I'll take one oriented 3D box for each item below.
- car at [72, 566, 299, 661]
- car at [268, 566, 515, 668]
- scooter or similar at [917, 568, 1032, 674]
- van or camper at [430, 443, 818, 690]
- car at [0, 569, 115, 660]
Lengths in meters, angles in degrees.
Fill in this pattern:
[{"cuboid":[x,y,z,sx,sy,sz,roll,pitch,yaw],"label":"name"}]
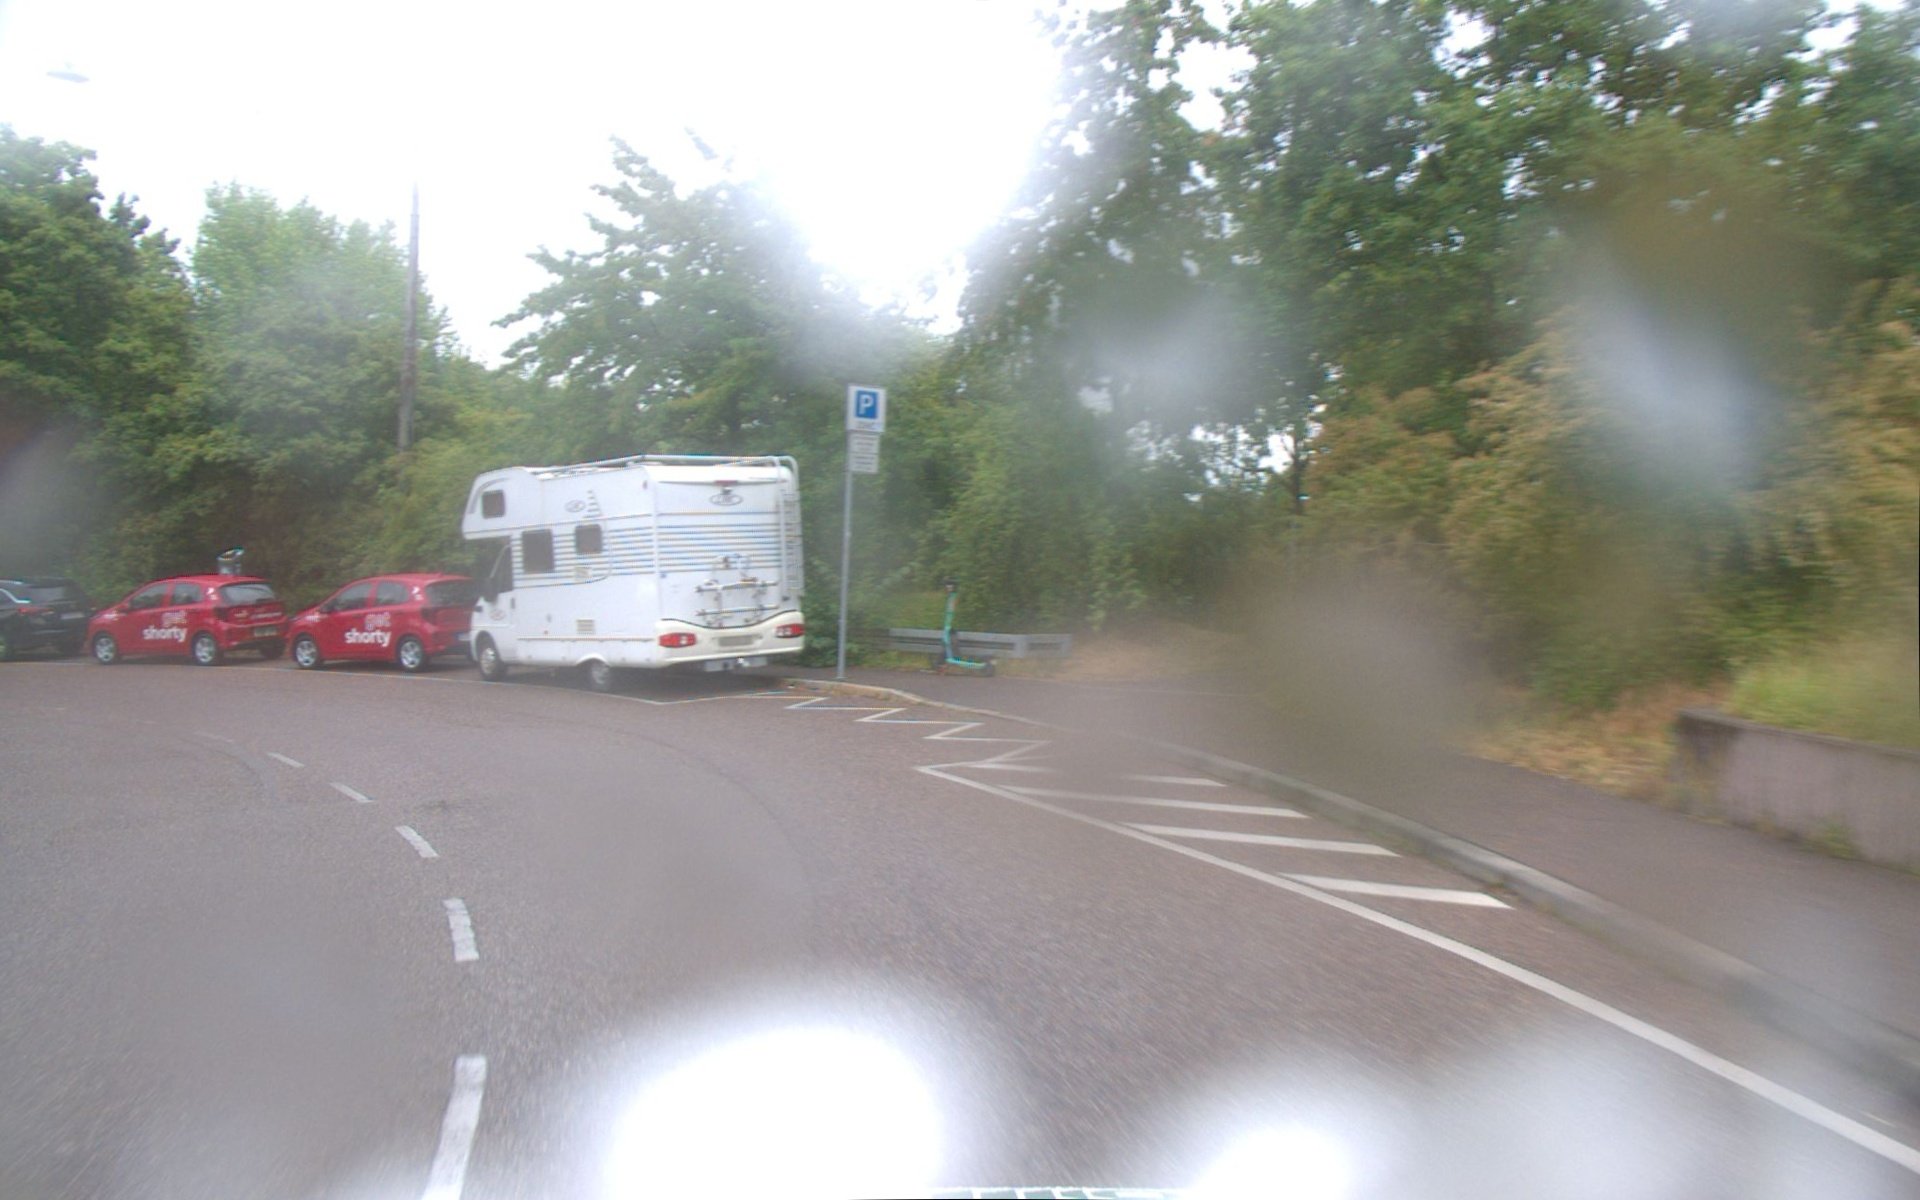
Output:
[{"cuboid":[-13.664,0.208,29.204,3.589,1.539,1.564,0,4,22],"label":"car"},{"cuboid":[-9.266,0.254,26.929,3.720,1.485,1.645,0,4,27],"label":"car"},{"cuboid":[0.173,0.262,21.333,0.448,1.305,1.683,-1,0,-42],"label":"scooter or similar"},{"cuboid":[-4.868,-0.515,23.173,2.379,2.994,6.182,-5,4,-43],"label":"van or camper"},{"cuboid":[-18.335,0.262,31.047,4.484,1.539,1.725,0,3,19],"label":"car"}]
